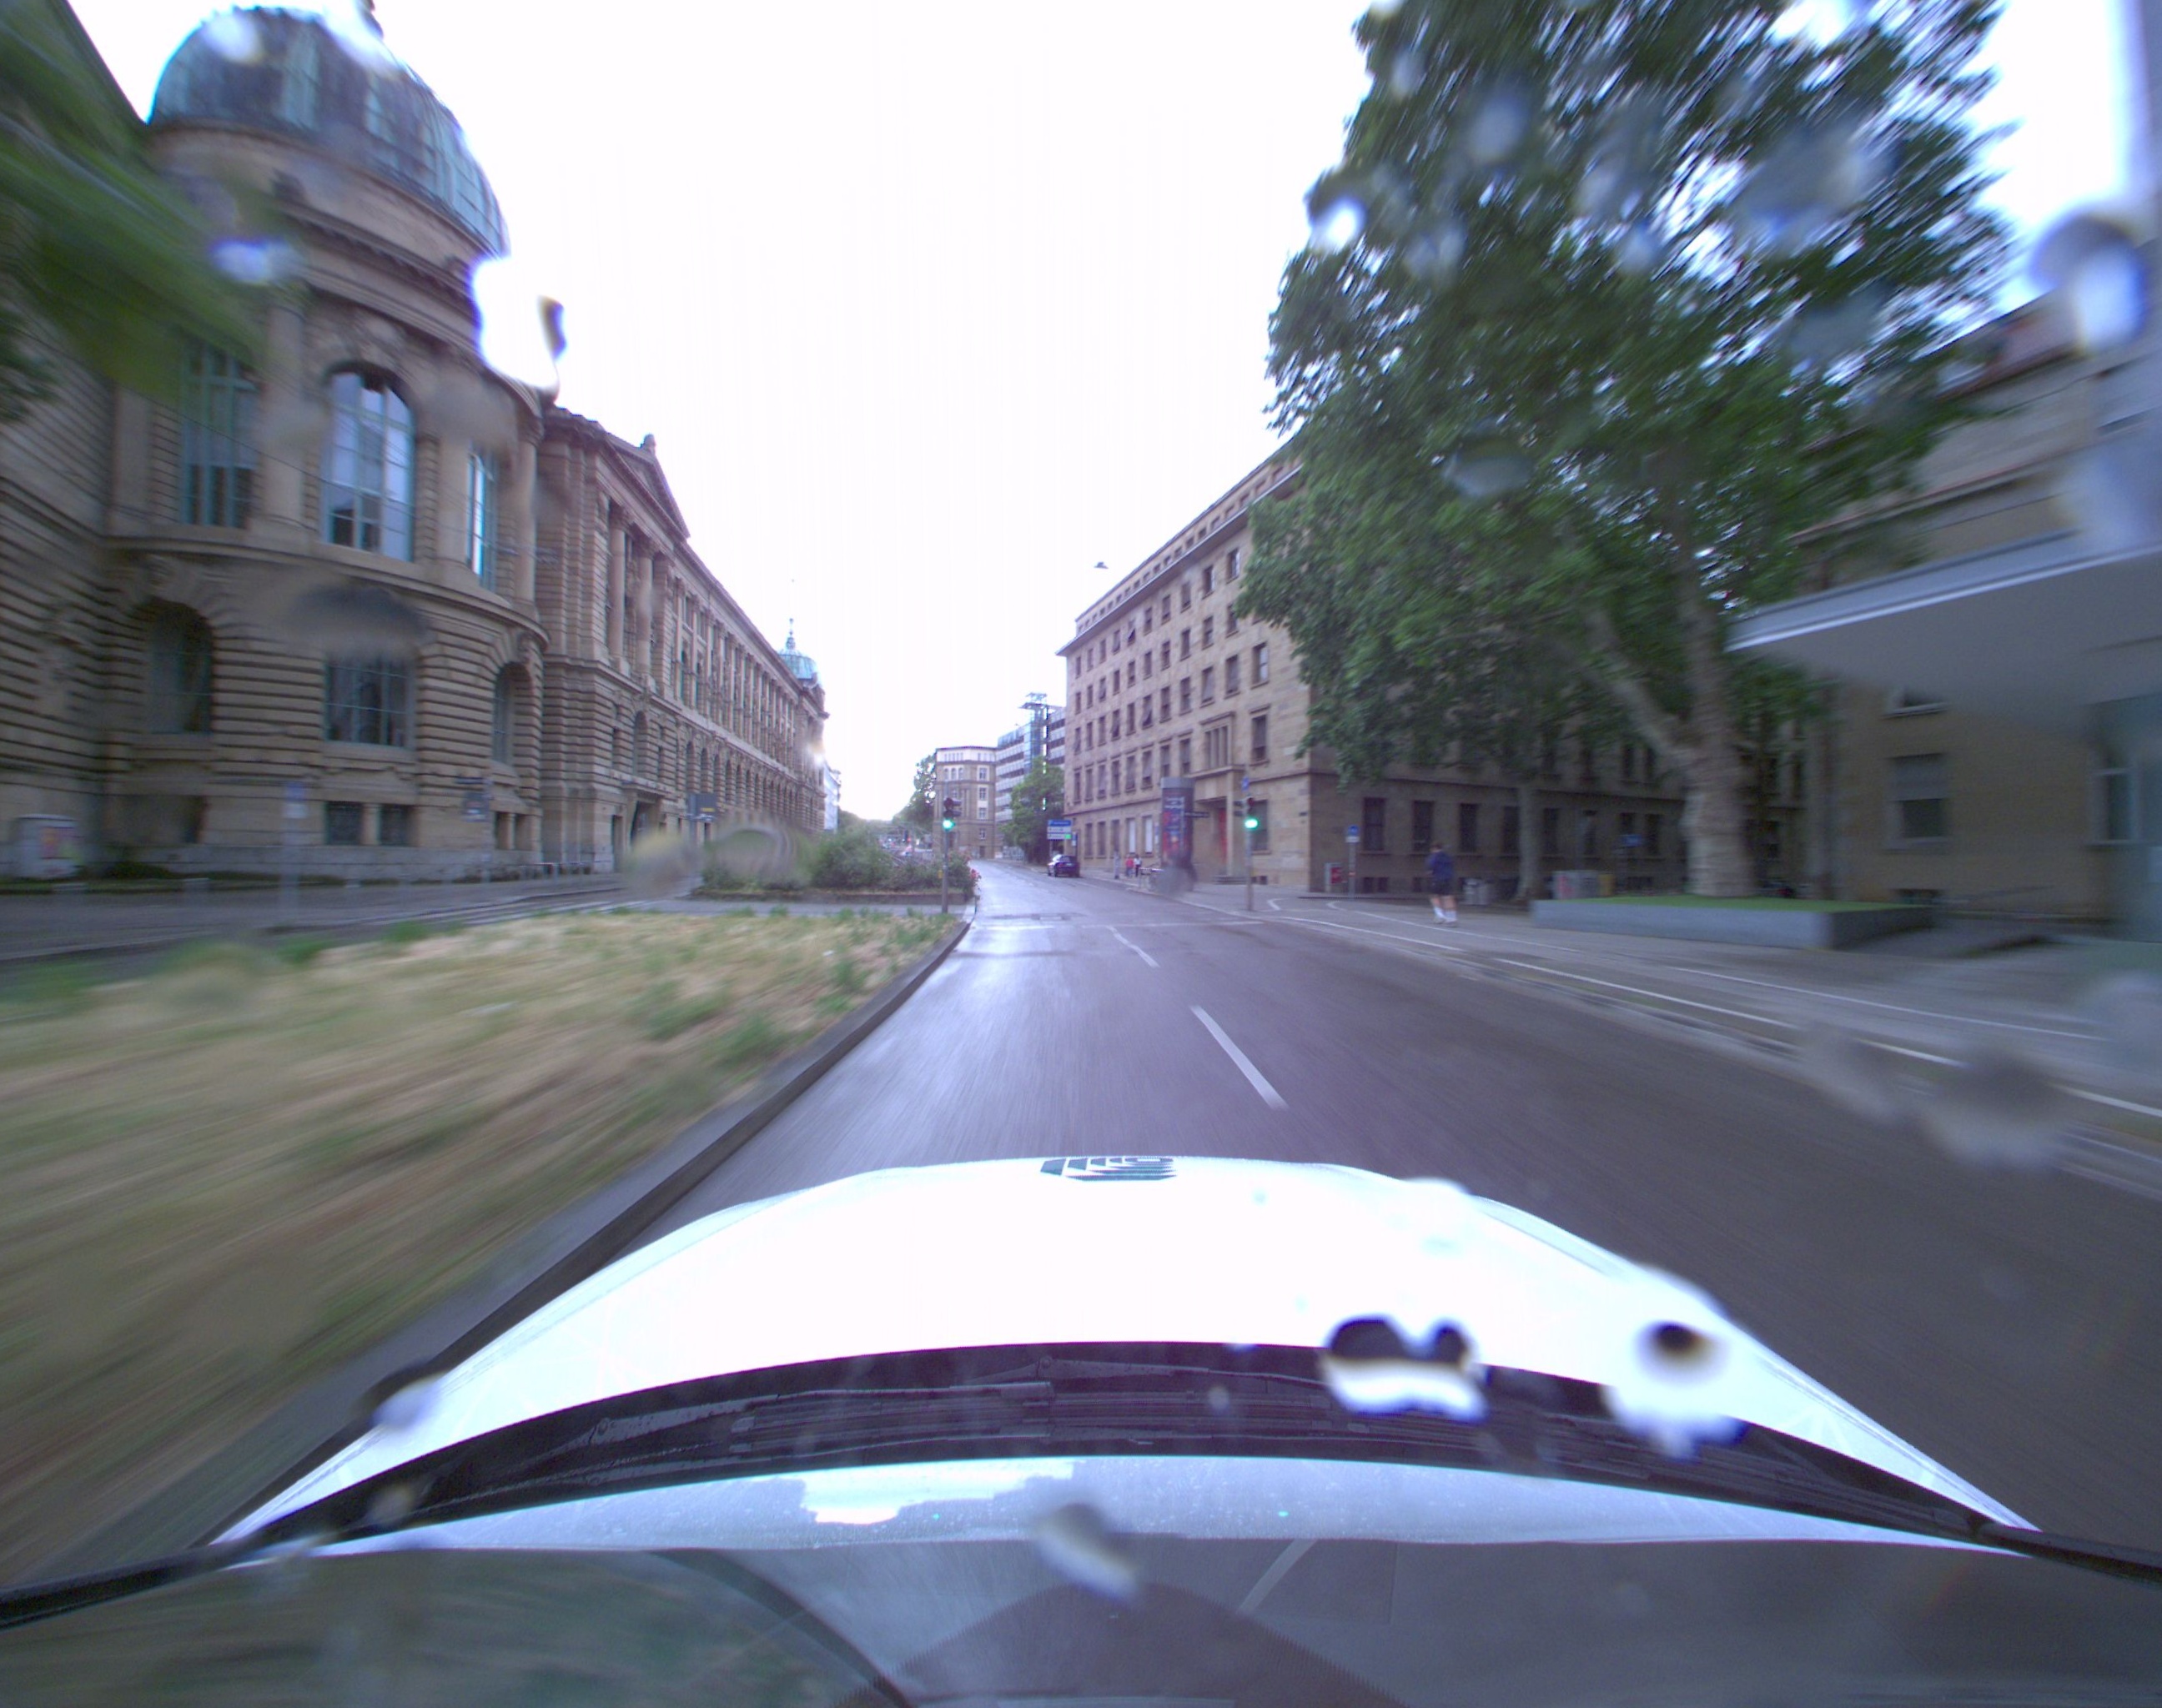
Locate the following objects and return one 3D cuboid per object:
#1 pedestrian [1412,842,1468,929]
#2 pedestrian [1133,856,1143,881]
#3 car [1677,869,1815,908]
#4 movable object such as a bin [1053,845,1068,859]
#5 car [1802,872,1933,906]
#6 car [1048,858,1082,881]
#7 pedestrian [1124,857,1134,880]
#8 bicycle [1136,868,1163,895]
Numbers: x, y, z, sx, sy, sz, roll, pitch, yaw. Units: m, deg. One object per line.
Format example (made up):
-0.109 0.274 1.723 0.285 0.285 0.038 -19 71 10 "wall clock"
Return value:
7.512 0.647 17.086 0.777 1.772 0.862 0 0 -1 "pedestrian"
3.801 0.952 53.998 0.524 1.602 0.672 1 0 -6 "pedestrian"
30.192 1.507 37.143 1.892 1.463 4.505 -2 2 -25 "car"
-1.952 -0.161 77.726 1.239 1.310 1.230 -1 0 -9 "movable object such as a bin"
41.349 1.808 42.927 1.894 1.463 4.636 -2 2 -28 "car"
-1.216 1.094 59.917 1.769 1.619 4.140 1 -1 -12 "car"
3.188 0.943 53.705 0.524 1.492 0.672 1 0 -8 "pedestrian"
2.714 1.064 32.442 0.489 1.012 1.920 1 0 -12 "bicycle"
